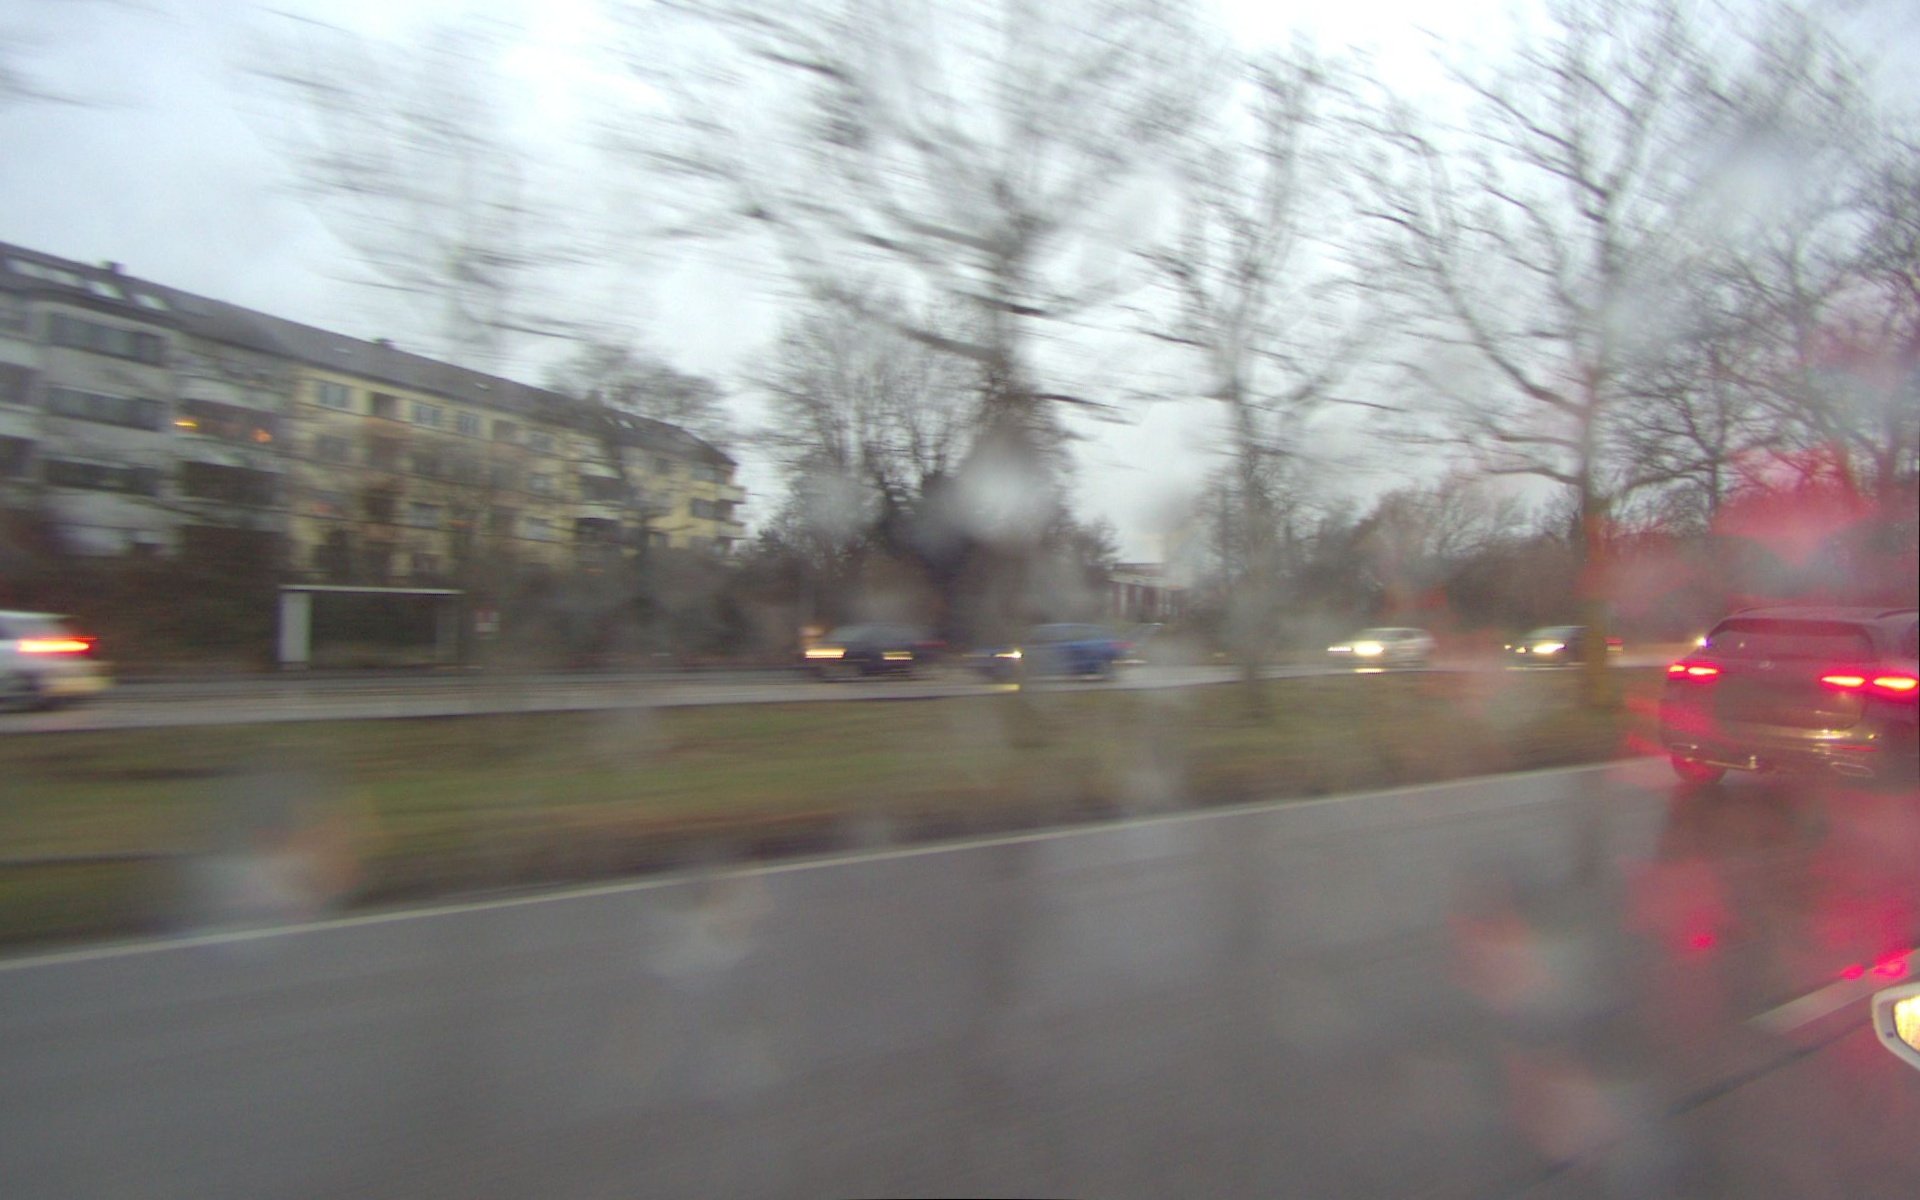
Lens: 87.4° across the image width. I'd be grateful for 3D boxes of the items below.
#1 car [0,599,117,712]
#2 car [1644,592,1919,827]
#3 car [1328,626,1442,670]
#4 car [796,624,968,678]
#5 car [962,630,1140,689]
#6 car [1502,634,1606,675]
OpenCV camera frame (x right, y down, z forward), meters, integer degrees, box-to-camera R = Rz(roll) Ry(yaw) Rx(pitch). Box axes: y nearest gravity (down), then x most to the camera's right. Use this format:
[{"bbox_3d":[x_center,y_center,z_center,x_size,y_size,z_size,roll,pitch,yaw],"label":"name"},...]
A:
[{"bbox_3d":[-15.234,0.804,15.188,3.535,1.648,1.775,2,-1,-32],"label":"car"},{"bbox_3d":[8.238,0.857,9.059,4.417,1.669,1.812,2,-2,-32],"label":"car"},{"bbox_3d":[15.790,1.766,37.276,4.147,1.502,1.744,2,-1,-30],"label":"car"},{"bbox_3d":[-2.057,1.344,26.886,4.266,1.325,1.743,2,-1,-31],"label":"car"},{"bbox_3d":[2.314,1.459,25.179,4.266,1.325,1.743,2,-1,-31],"label":"car"},{"bbox_3d":[21.560,1.967,36.423,3.957,1.357,1.628,2,0,-33],"label":"car"}]
